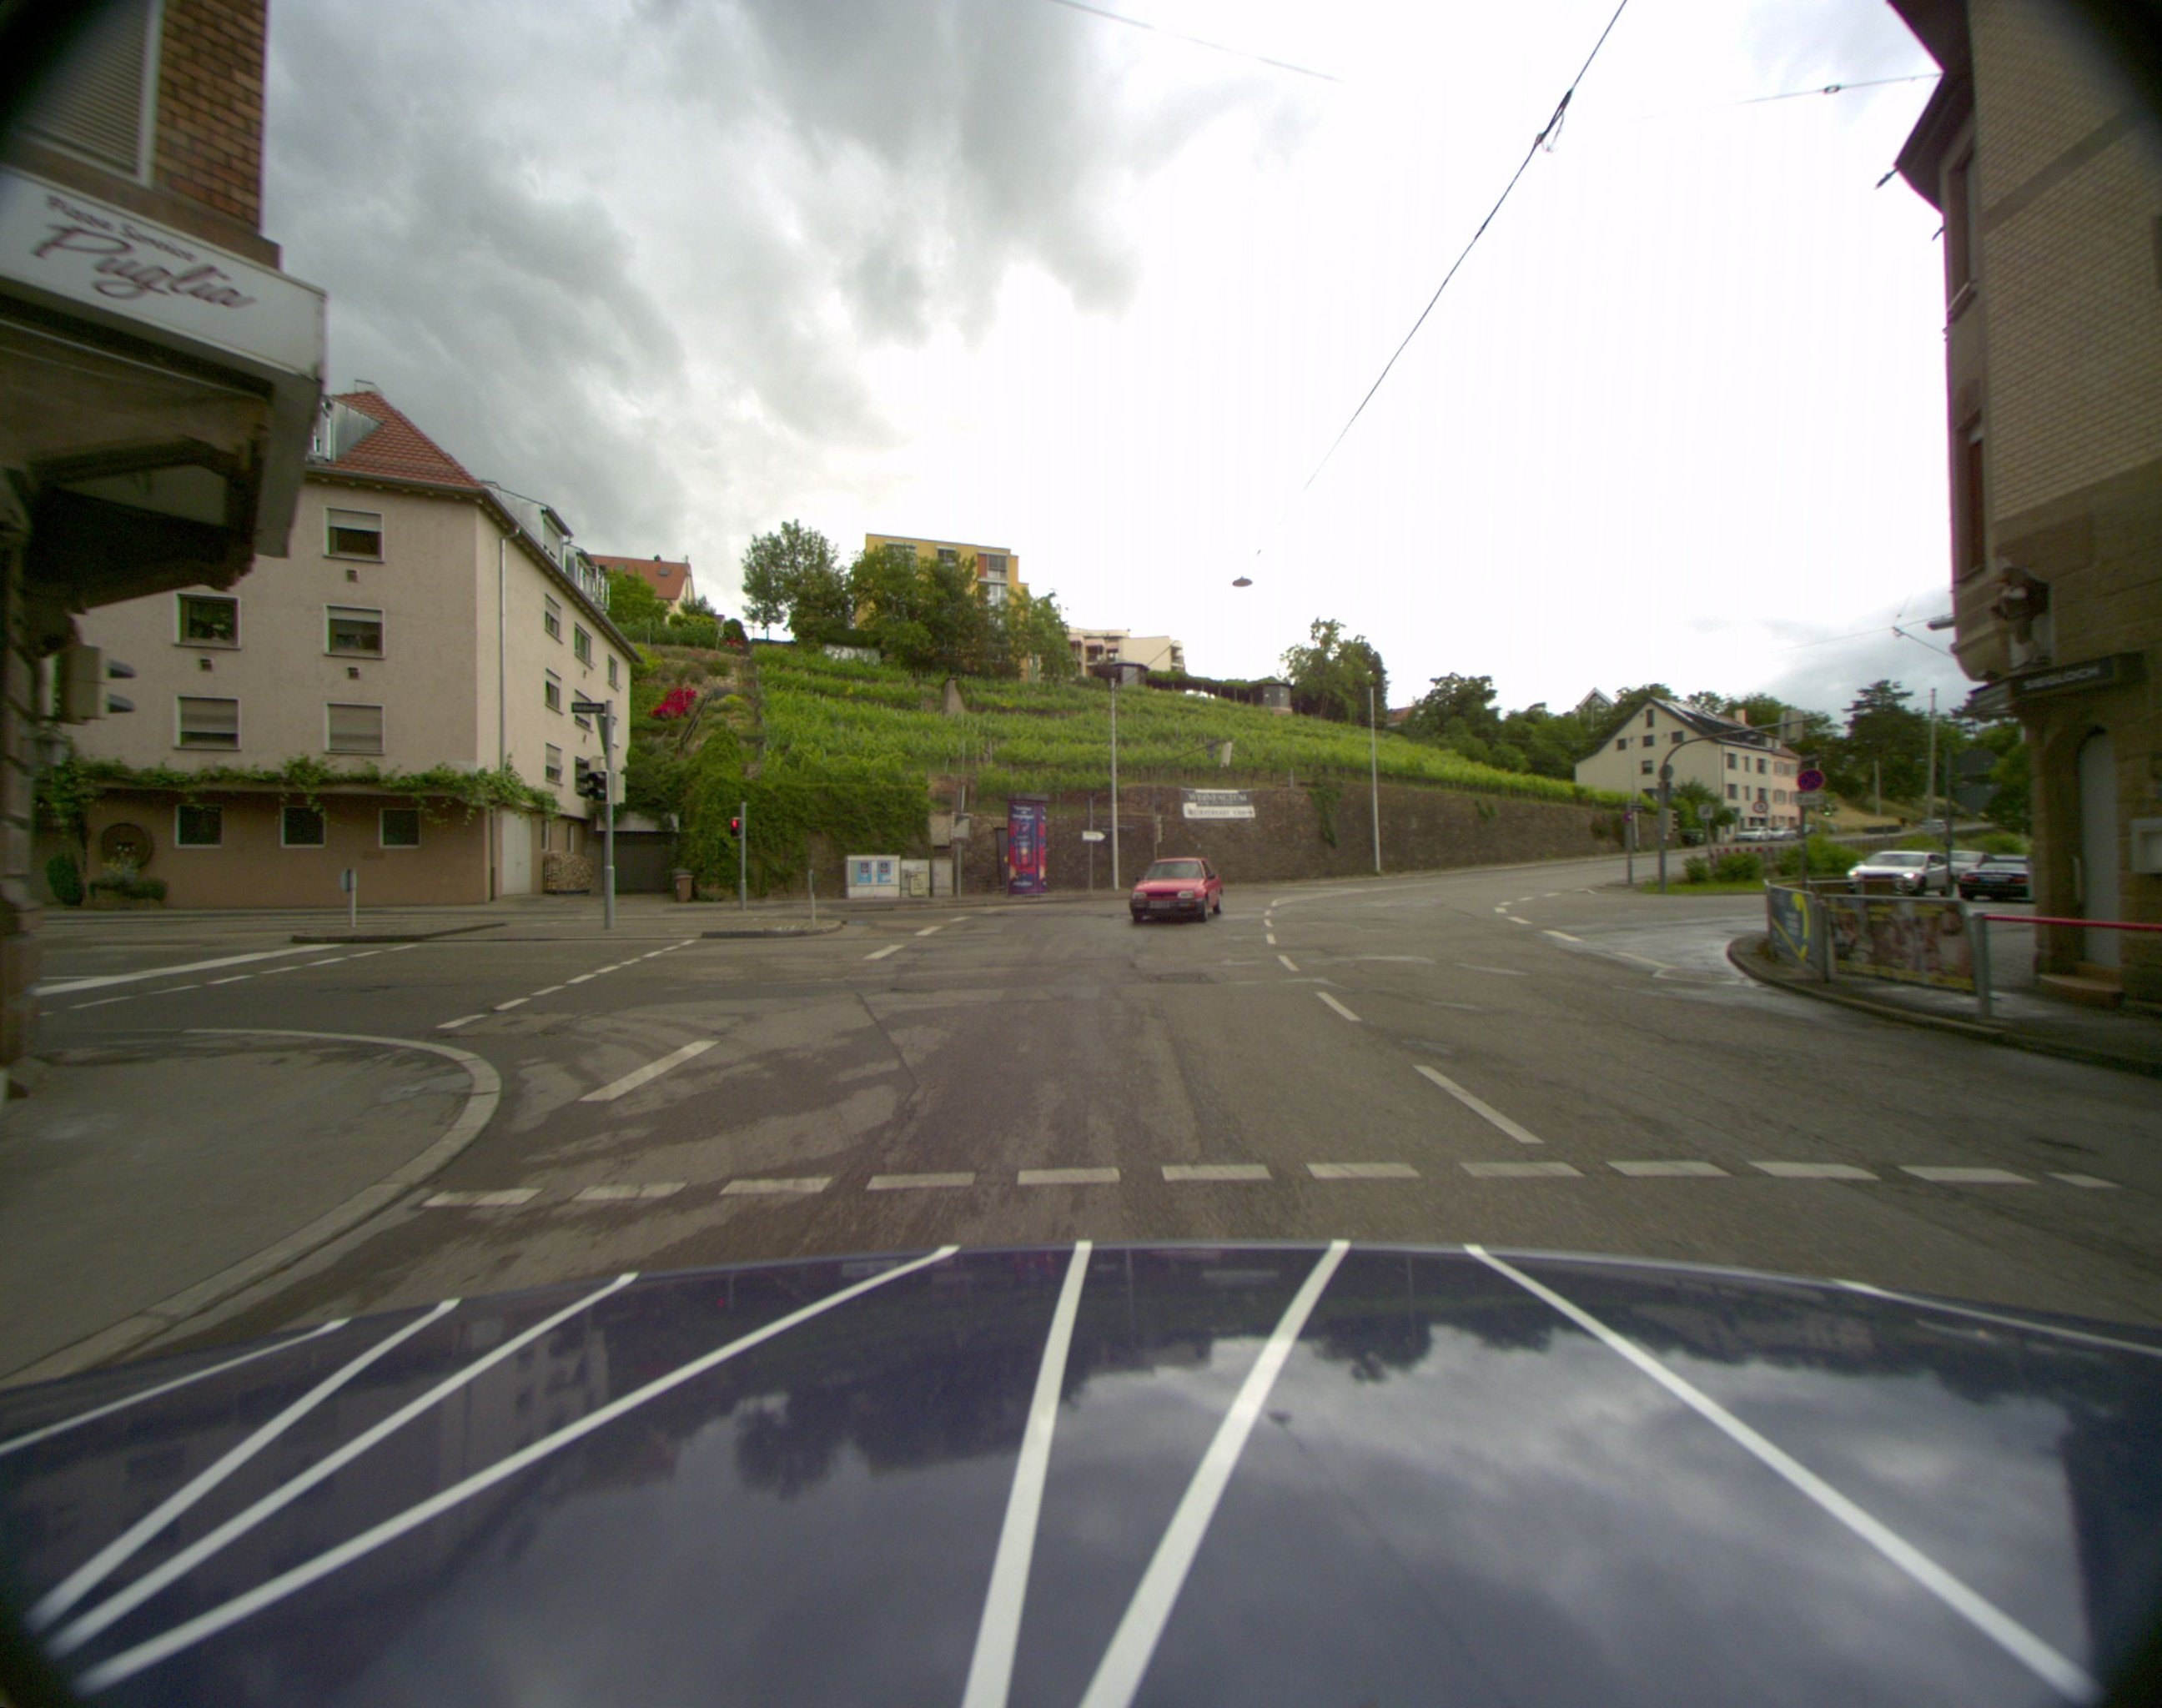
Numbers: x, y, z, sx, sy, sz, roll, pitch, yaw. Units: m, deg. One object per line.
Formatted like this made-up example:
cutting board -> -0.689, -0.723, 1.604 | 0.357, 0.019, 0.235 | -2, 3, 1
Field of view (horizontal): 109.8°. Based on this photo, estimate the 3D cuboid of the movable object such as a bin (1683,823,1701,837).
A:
movable object such as a bin -> 49.570, -1.937, 61.653 | 0.876, 1.120, 0.810 | -4, 1, -30

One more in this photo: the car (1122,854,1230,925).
car -> 2.364, 0.771, 17.962 | 1.644, 1.430, 4.006 | -2, 0, 20

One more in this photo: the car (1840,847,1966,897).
car -> 29.703, 0.630, 27.447 | 4.428, 1.505, 1.830 | -3, 0, -25

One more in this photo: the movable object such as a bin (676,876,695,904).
movable object such as a bin -> -13.228, 1.208, 25.410 | 0.496, 0.906, 0.344 | -3, 1, -33

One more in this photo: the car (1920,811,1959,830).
car -> 74.483, -2.900, 65.939 | 3.650, 1.459, 1.670 | 1, 1, -33

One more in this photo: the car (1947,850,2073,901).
car -> 30.762, 0.663, 25.149 | 4.404, 1.401, 1.763 | -3, 2, -27

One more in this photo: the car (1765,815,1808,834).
car -> 67.956, -2.871, 73.191 | 4.254, 1.565, 1.730 | -4, 0, -30

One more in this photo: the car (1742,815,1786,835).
car -> 63.516, -2.664, 70.620 | 4.061, 1.565, 1.796 | -4, 0, -30

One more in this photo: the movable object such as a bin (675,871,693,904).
movable object such as a bin -> -13.490, 1.129, 25.819 | 0.473, 1.076, 0.407 | -3, 1, -33
